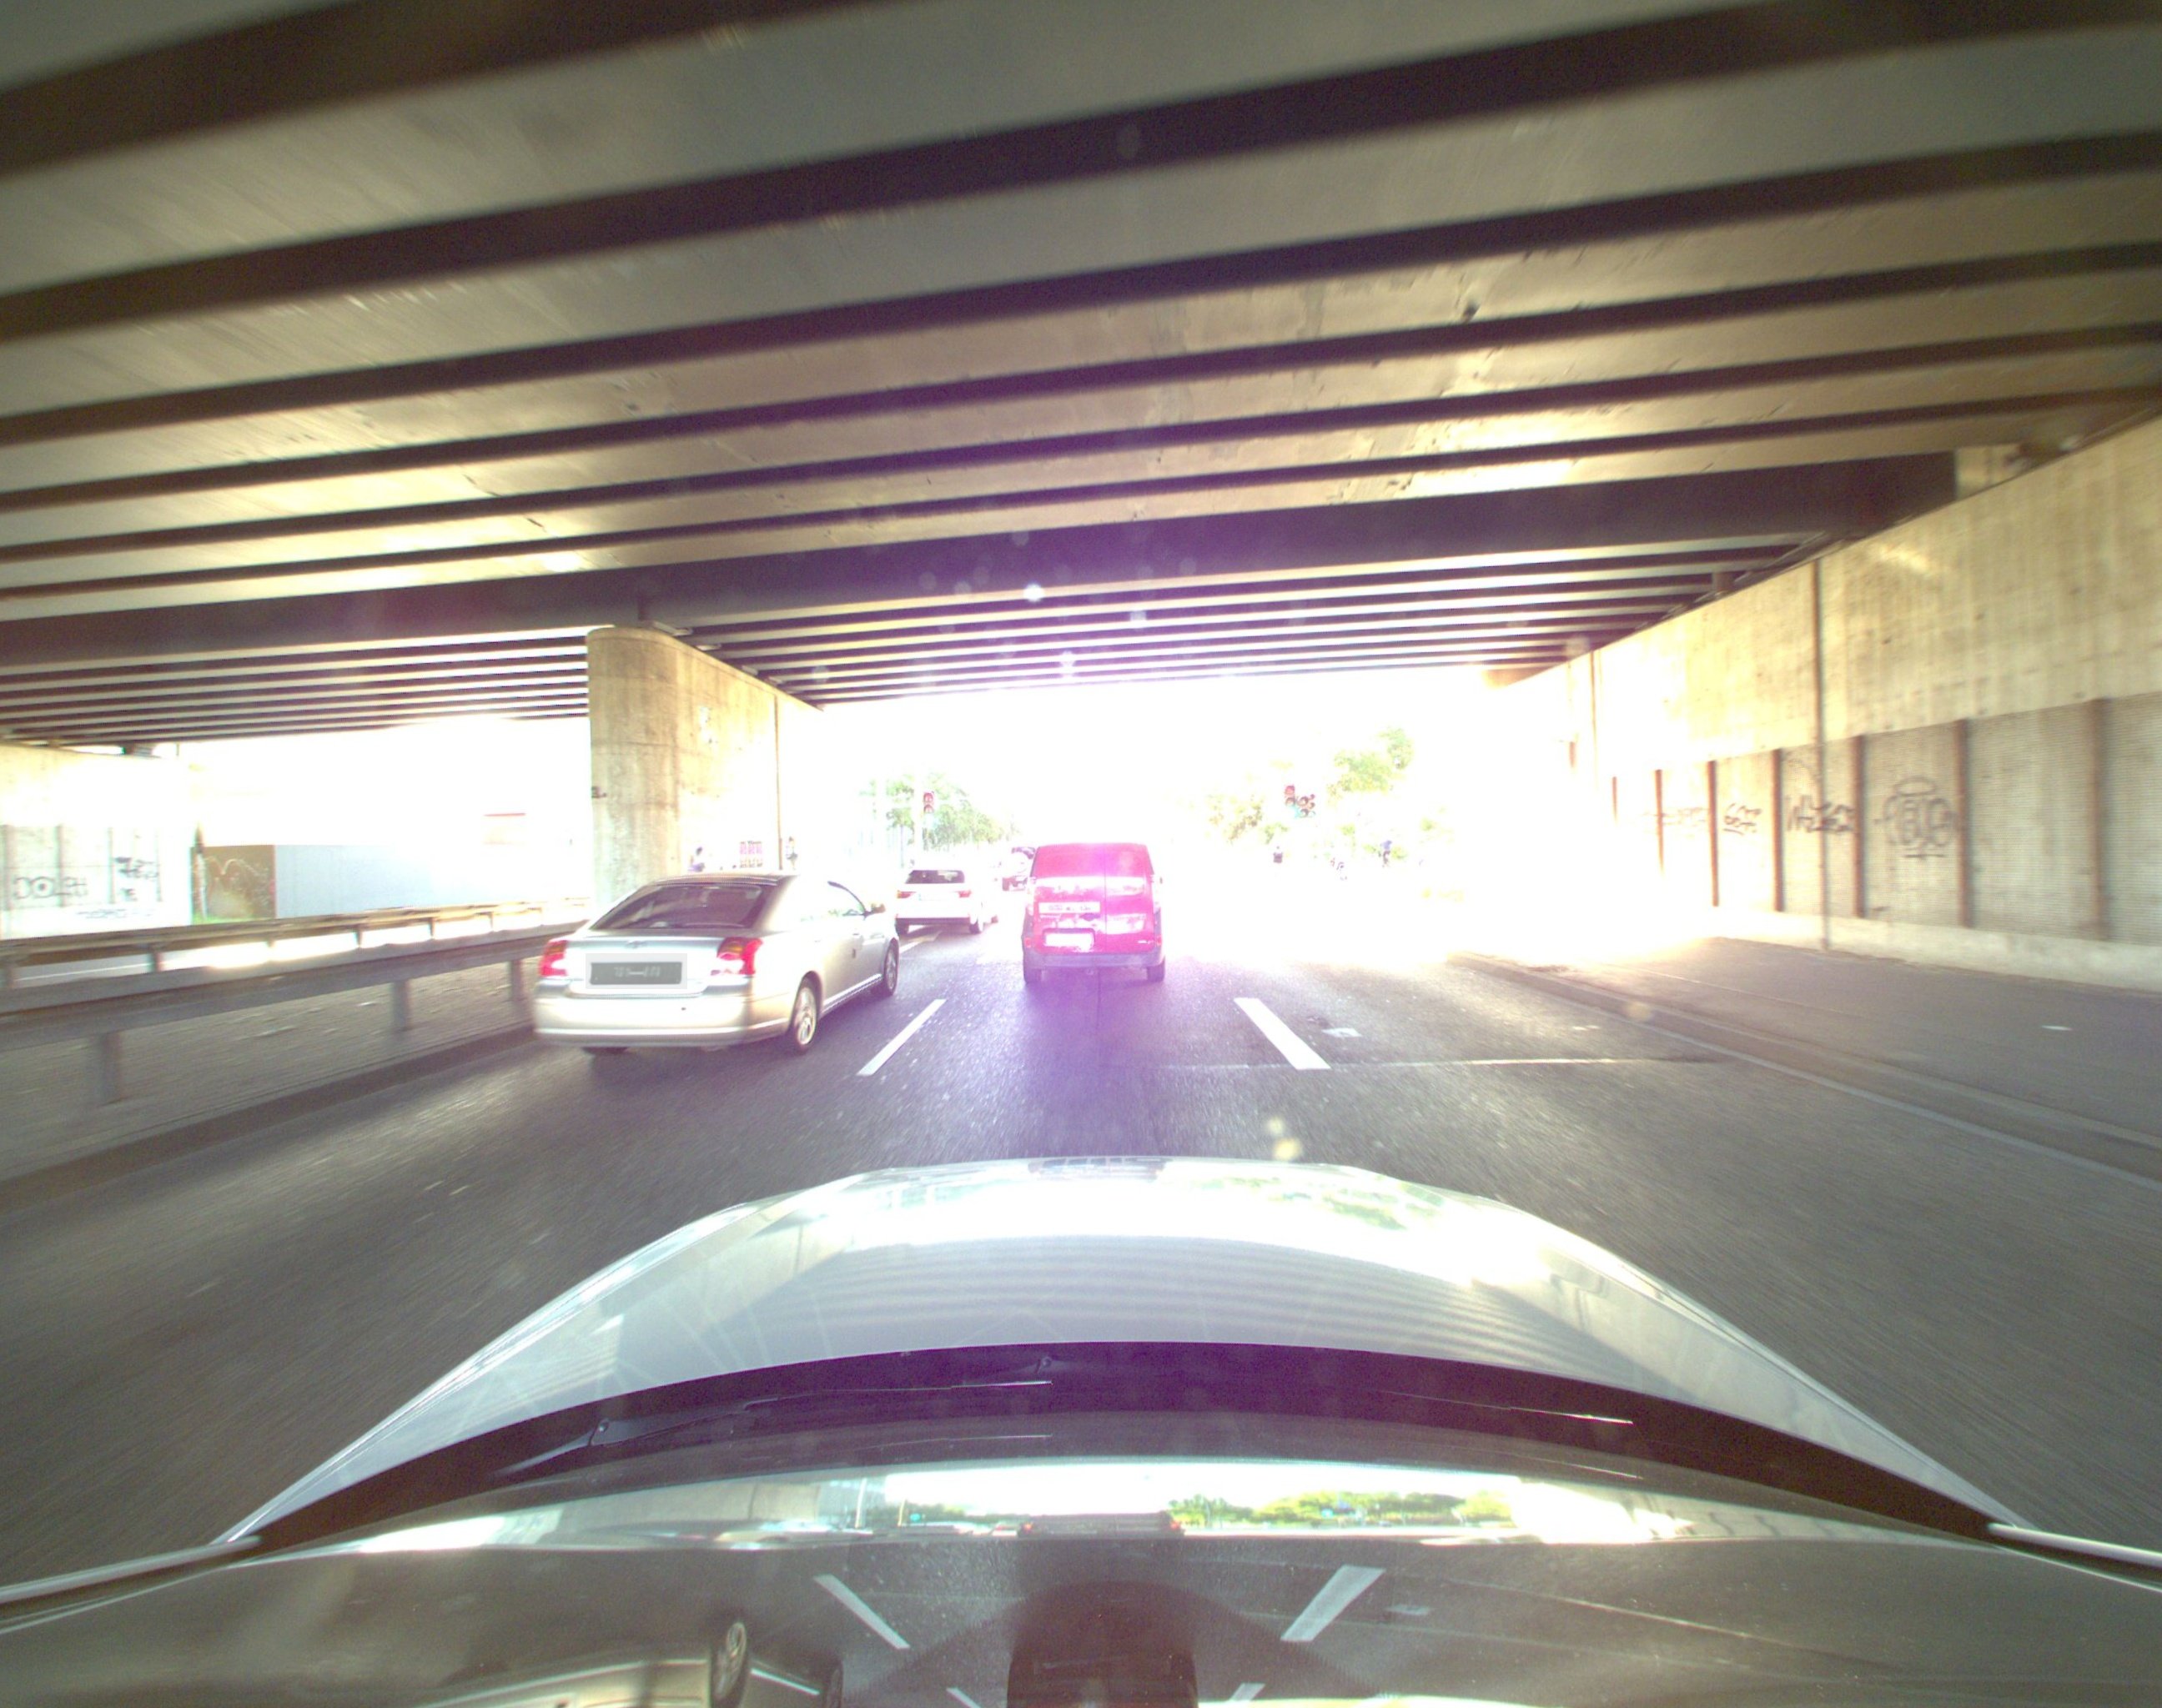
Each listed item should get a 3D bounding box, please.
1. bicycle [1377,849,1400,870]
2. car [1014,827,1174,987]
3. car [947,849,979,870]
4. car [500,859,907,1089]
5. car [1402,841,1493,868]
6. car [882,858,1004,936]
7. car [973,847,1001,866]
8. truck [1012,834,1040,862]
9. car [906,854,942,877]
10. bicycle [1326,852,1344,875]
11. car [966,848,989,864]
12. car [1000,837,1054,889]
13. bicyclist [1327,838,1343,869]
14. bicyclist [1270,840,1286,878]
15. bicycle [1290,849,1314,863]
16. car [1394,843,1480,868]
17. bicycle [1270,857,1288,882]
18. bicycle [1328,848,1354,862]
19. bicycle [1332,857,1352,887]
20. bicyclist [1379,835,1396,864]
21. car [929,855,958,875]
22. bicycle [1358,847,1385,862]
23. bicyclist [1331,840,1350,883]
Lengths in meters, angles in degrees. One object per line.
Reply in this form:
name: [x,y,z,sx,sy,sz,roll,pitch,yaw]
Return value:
bicycle: [15.648,0.283,41.504,0.664,1.023,1.754,-1,1,6]
car: [0.201,0.637,11.239,1.798,1.794,4.001,0,-1,1]
car: [-10.439,0.480,72.391,1.817,1.625,4.532,-4,0,3]
car: [-2.976,0.819,7.574,1.727,1.480,4.318,-1,-1,0]
car: [21.316,0.065,47.538,4.522,1.514,1.832,-1,-1,8]
car: [-2.807,0.826,17.381,1.806,1.438,3.733,-1,0,2]
car: [-8.019,0.221,69.766,1.629,1.443,4.079,-4,0,2]
truck: [-6.424,-0.732,96.213,2.400,3.026,6.660,-4,0,2]
car: [-13.397,0.964,69.728,1.817,1.737,4.632,-4,0,3]
bicycle: [12.070,0.462,38.772,0.667,1.023,2.063,-1,-1,14]
car: [-10.186,0.185,80.443,1.641,1.404,3.978,-4,0,1]
car: [-2.156,0.399,33.838,1.794,1.989,4.590,0,-1,1]
bicyclist: [12.021,-0.021,38.609,0.660,1.474,0.754,-1,-1,13]
bicyclist: [8.495,0.224,35.140,0.588,1.613,0.944,-1,-1,8]
bicycle: [16.702,0.137,61.528,1.734,1.023,0.595,-1,-1,10]
car: [21.835,0.109,50.125,4.522,1.514,1.832,-1,-1,8]
bicycle: [8.515,0.673,35.135,0.588,1.023,1.754,-1,-1,9]
bicycle: [19.172,0.077,59.991,1.734,1.023,0.595,-1,-1,10]
bicycle: [9.440,0.645,29.489,0.587,1.023,1.757,-1,-1,14]
bicyclist: [15.642,-0.225,41.582,0.646,1.481,0.619,-1,0,6]
car: [-13.075,1.061,77.715,1.818,1.737,4.531,-4,0,2]
bicycle: [20.982,0.036,58.830,1.733,1.023,0.595,-1,-1,12]
bicyclist: [9.408,0.274,29.502,0.587,1.548,0.772,-1,-1,14]
